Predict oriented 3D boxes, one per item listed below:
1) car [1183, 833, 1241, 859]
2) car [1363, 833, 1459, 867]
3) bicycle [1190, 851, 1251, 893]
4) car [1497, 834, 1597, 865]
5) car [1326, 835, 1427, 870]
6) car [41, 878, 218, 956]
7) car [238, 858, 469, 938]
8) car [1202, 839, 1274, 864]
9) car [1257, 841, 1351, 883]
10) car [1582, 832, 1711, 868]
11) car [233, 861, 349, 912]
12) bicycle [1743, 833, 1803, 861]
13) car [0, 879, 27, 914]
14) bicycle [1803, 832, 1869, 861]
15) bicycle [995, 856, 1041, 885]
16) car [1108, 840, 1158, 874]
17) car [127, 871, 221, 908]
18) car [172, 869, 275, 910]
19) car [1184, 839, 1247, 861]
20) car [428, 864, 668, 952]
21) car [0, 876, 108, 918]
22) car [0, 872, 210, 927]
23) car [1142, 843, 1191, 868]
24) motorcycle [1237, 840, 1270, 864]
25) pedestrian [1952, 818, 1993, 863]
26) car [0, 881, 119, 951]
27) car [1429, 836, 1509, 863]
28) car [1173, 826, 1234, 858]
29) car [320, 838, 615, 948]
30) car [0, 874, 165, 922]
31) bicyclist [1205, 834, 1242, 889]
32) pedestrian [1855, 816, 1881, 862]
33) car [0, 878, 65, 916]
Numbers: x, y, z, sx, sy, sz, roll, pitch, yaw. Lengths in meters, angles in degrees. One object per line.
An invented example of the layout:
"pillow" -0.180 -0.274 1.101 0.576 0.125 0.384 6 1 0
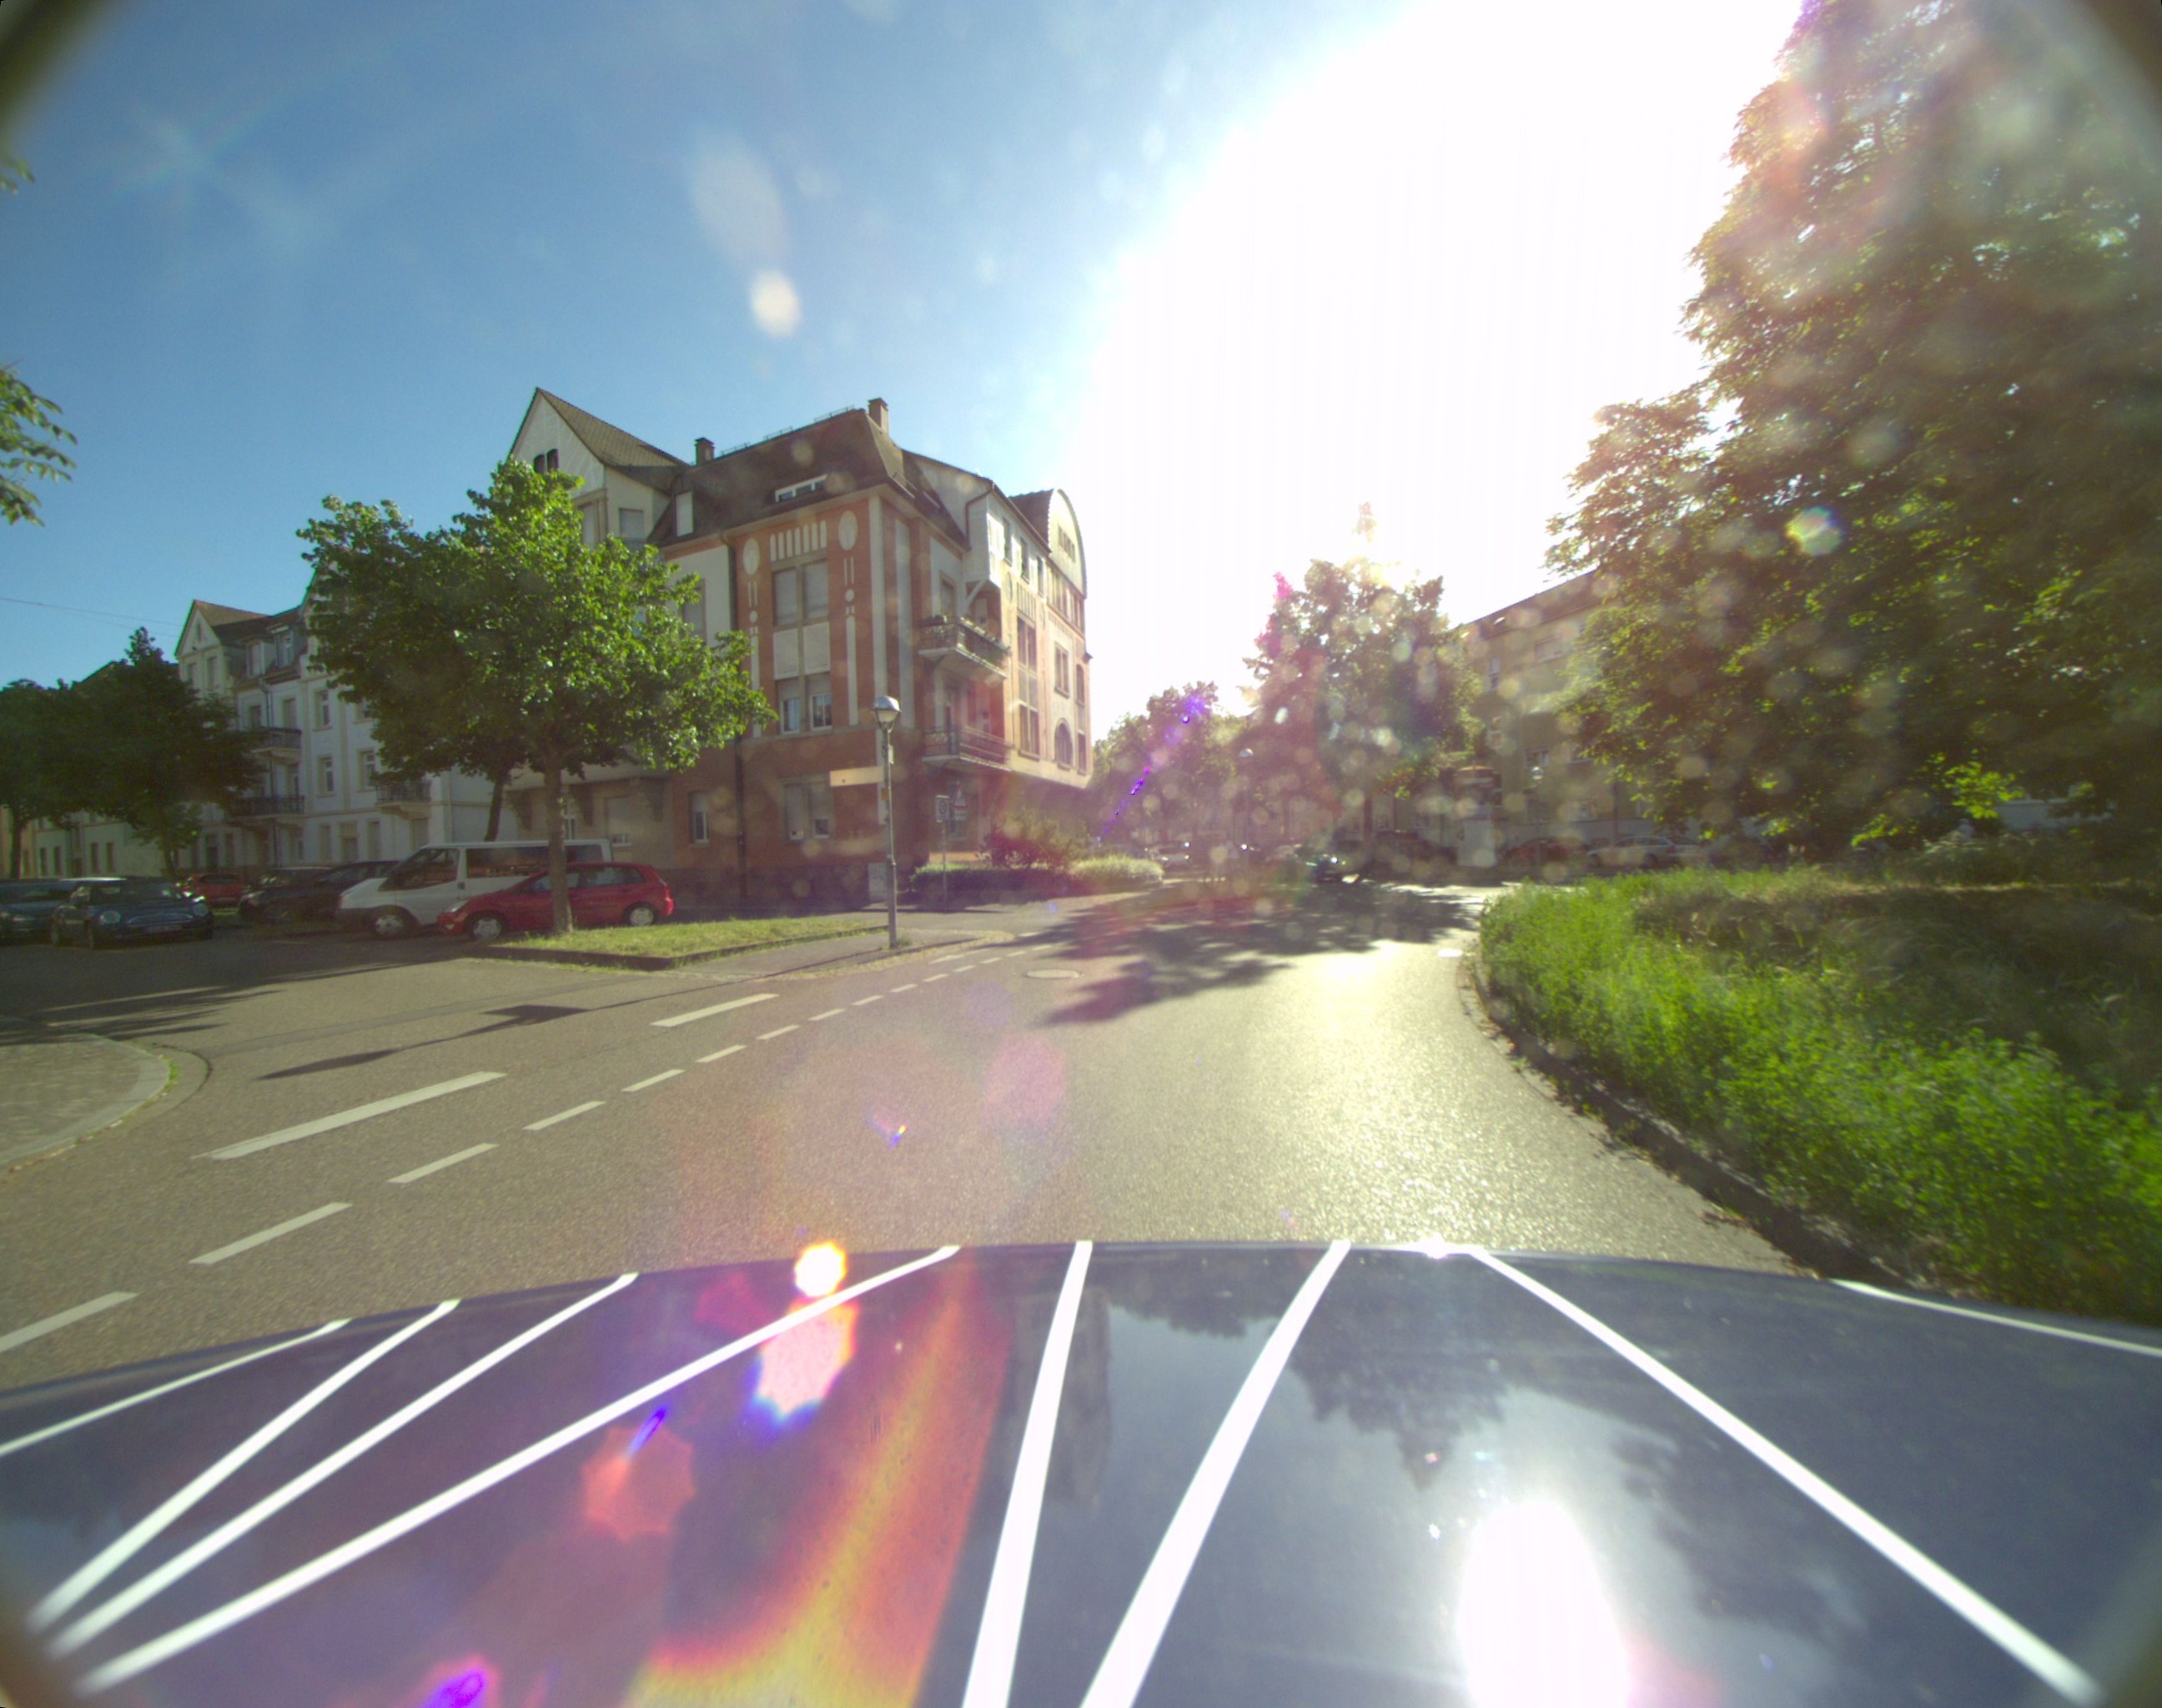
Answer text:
"car" 10.104 -0.585 58.554 3.990 1.887 1.826 -1 1 26
"car" 15.395 -0.163 35.428 3.990 1.464 1.762 -1 1 27
"bicycle" 4.379 0.545 23.849 1.873 1.191 0.763 -2 2 -34
"car" 23.388 -0.208 38.323 1.736 1.431 4.382 -2 1 -12
"car" 13.151 -0.061 33.821 3.990 1.464 1.762 -1 1 28
"car" -20.939 1.317 16.714 3.604 1.415 1.616 -1 4 27
"car" -18.357 1.039 19.468 3.962 1.728 1.757 -2 1 -33
"car" 9.762 -0.159 47.199 3.990 1.433 1.826 -1 1 26
"car" 8.658 0.287 29.896 1.798 1.427 4.204 -3 1 -10
"car" 24.541 -0.180 33.195 1.733 1.403 4.484 -2 1 -12
"car" -28.174 1.133 27.076 3.945 1.648 1.764 -1 1 28
"bicycle" 28.866 -0.287 31.710 0.501 1.101 1.797 -2 1 -22
"car" -48.734 1.922 32.443 3.962 1.488 1.757 -2 1 -37
"bicycle" 30.009 -0.303 30.219 0.501 1.101 1.795 -2 1 -37
"bicycle" -2.414 0.641 29.027 1.671 1.065 0.501 -1 1 17
"car" 2.916 0.159 43.883 1.798 1.757 4.204 -4 1 -10
"car" -39.489 1.508 33.063 3.945 1.447 1.764 -1 1 28
"car" -34.058 1.383 30.162 3.945 1.447 1.764 -1 1 28
"car" 9.478 -0.272 53.453 3.990 1.445 1.826 -1 1 26
"car" -10.440 0.985 15.168 3.702 1.427 1.665 -2 1 -33
"car" -41.932 1.702 29.969 3.961 1.488 1.757 -2 1 -28
"car" -31.366 1.413 24.466 3.961 1.488 1.757 -2 1 -28
"car" 5.220 0.076 46.909 1.798 1.427 4.204 -3 1 -10
"motorcycle" 9.928 -0.102 43.784 1.803 1.340 0.726 -2 1 -30
"pedestrian" 31.251 -0.468 26.642 0.696 1.515 0.651 -4 3 24
"car" -25.244 1.432 18.402 3.604 1.415 1.616 -1 4 27
"car" 22.326 -0.246 43.912 1.736 1.431 4.382 -2 1 -12
"car" 10.036 -0.985 62.281 4.584 2.476 1.989 -1 1 22
"car" -13.031 0.722 16.635 4.712 2.033 1.989 -2 1 -30
"car" -36.534 1.556 27.441 3.961 1.488 1.757 -2 1 -28
"bicyclist" 4.491 0.218 23.905 0.813 1.686 0.763 -3 2 -34
"pedestrian" 29.529 -0.555 28.515 0.555 1.684 0.607 -7 3 -41
"car" -45.468 1.818 31.269 3.961 1.488 1.757 -2 1 -28
